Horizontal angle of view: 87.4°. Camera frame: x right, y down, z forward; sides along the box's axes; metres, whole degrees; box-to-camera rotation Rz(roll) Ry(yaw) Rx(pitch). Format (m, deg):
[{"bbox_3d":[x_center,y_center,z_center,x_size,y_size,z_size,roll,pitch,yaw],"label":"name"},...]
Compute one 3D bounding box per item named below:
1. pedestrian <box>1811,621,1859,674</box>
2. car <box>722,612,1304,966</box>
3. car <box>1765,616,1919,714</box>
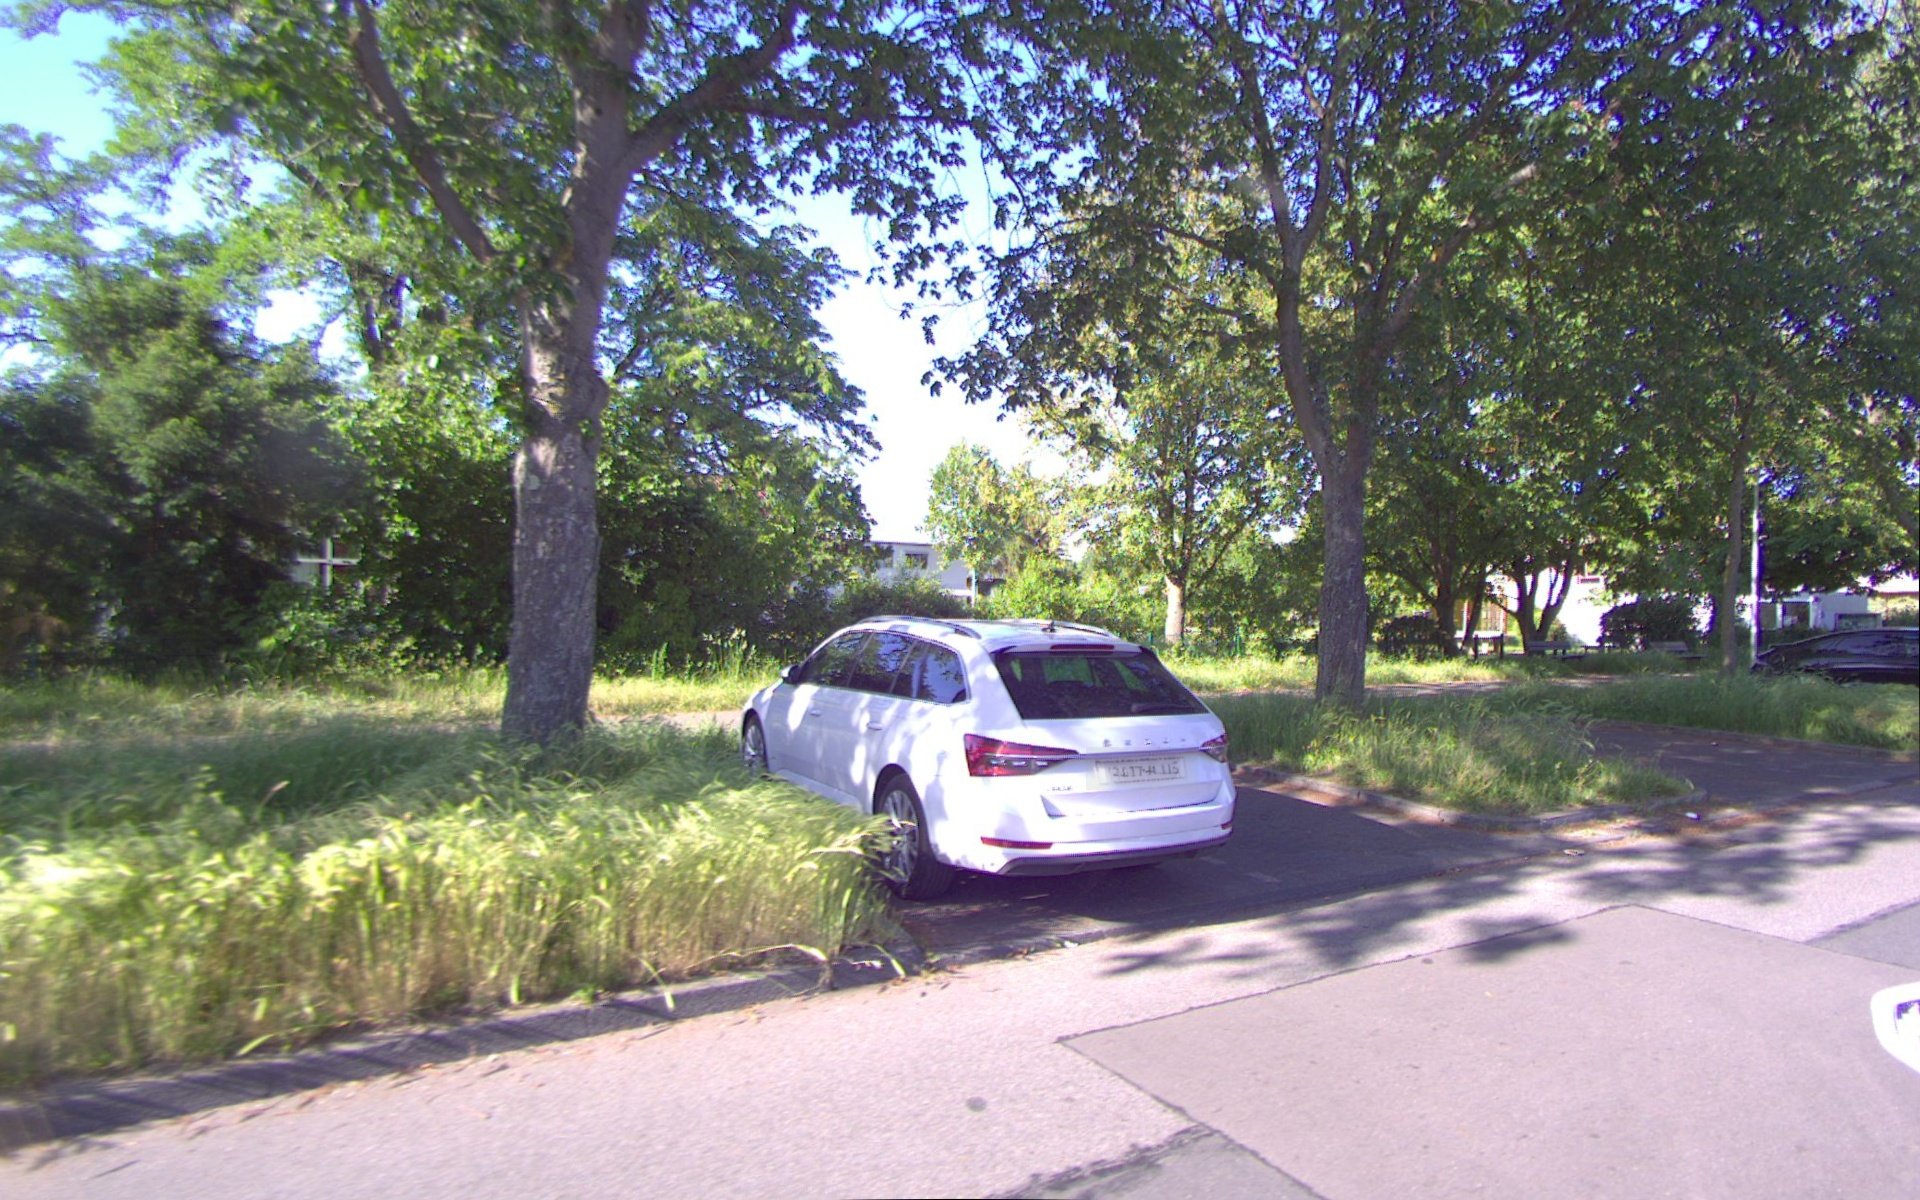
[{"bbox_3d":[32.452,1.753,37.244,1.212,1.851,1.542,3,0,44],"label":"pedestrian"},{"bbox_3d":[-0.088,0.890,7.030,1.975,1.523,4.653,1,0,-28],"label":"car"},{"bbox_3d":[16.582,1.131,16.928,1.786,1.551,4.346,2,0,-30],"label":"car"}]
